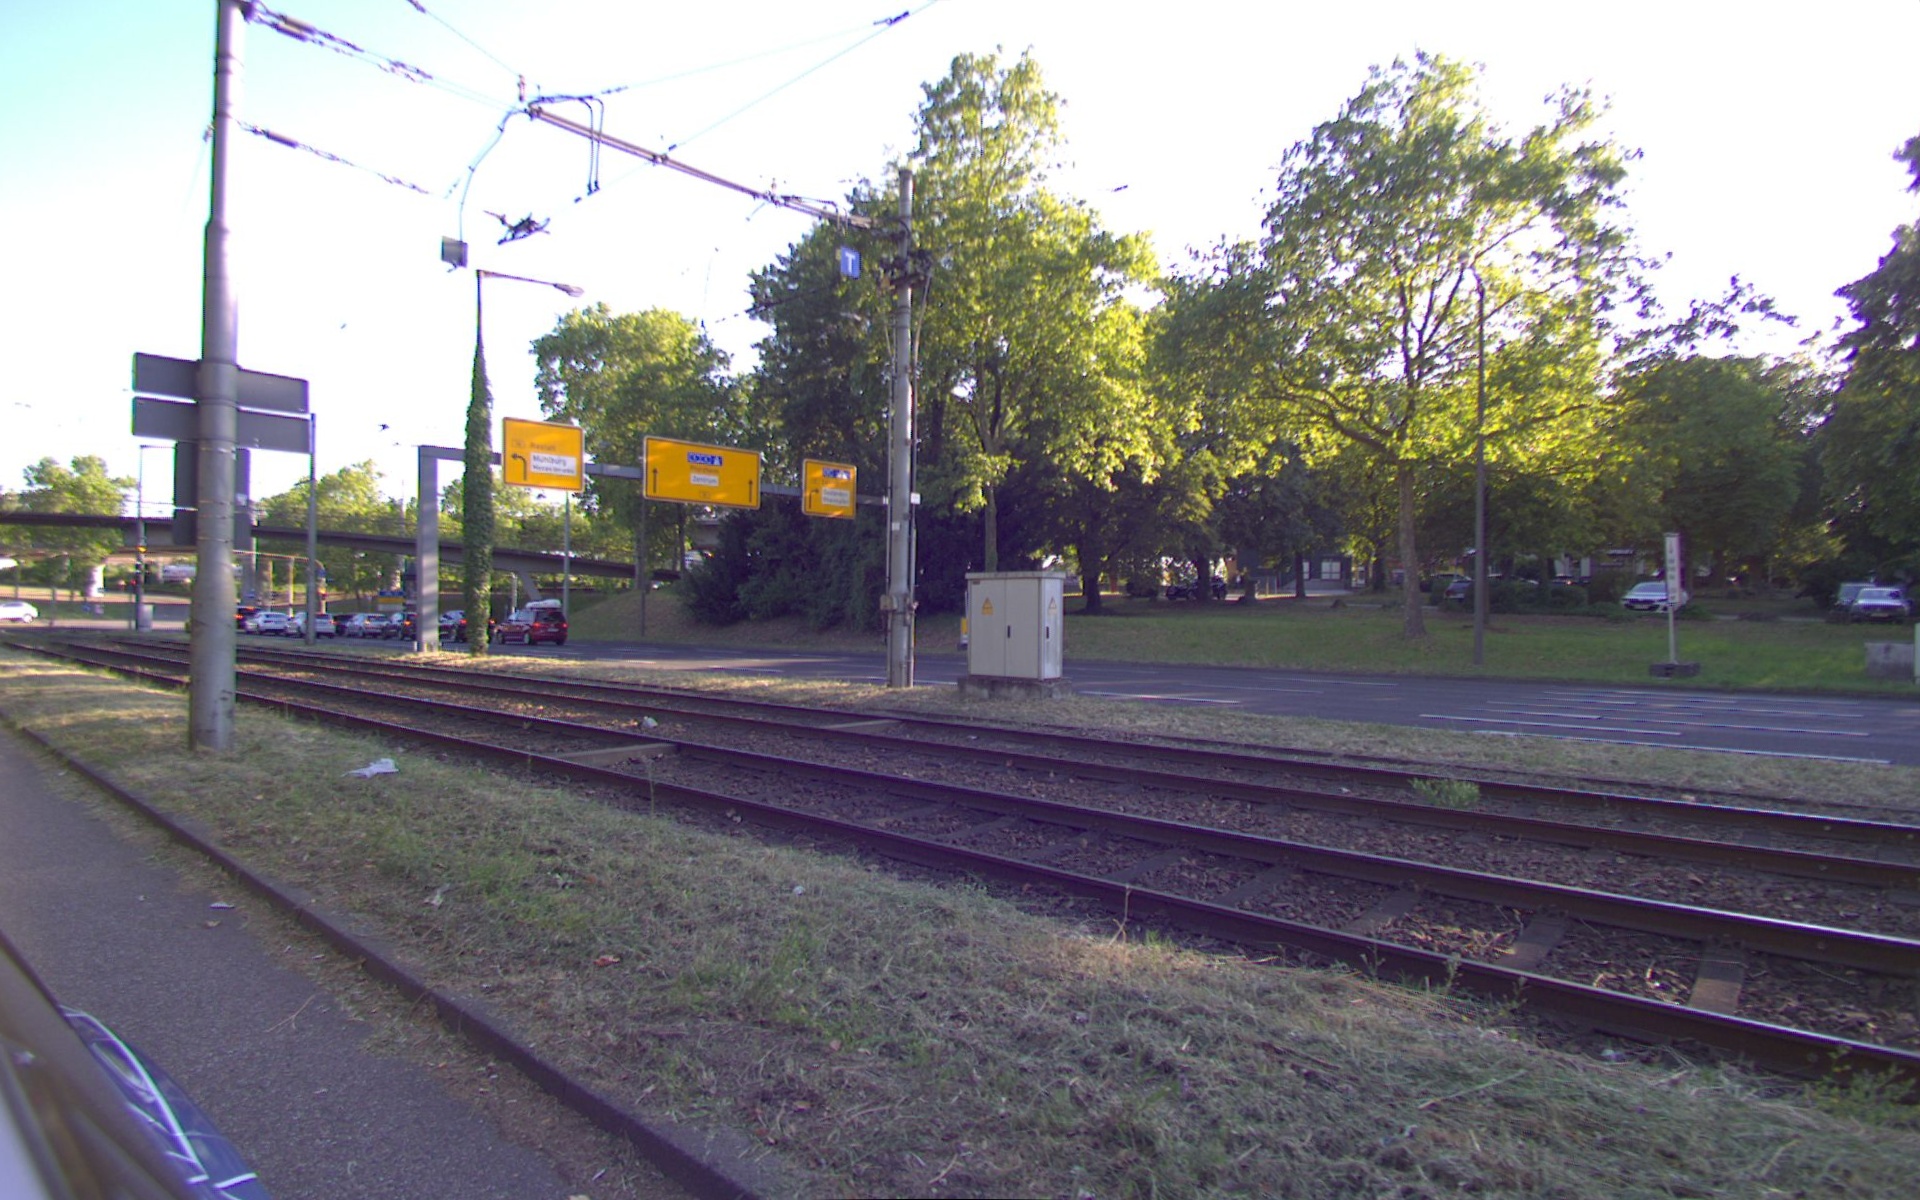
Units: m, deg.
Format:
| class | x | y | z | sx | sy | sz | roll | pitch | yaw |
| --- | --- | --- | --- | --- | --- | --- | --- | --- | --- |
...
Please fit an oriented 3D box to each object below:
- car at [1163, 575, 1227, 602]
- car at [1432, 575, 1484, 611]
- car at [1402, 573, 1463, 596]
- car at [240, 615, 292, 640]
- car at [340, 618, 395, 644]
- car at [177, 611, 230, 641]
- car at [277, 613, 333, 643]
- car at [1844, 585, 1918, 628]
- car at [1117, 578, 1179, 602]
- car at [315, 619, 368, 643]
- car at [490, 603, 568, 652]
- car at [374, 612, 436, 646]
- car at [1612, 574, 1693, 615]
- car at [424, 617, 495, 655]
| class | x | y | z | sx | sy | sz | roll | pitch | yaw |
| --- | --- | --- | --- | --- | --- | --- | --- | --- | --- |
| car | 14.089 | -0.664 | 60.622 | 3.939 | 1.564 | 1.810 | 0 | 0 | -43 |
| car | 24.775 | -0.319 | 50.267 | 1.823 | 1.700 | 4.178 | -1 | 0 | 33 |
| car | 34.659 | -1.113 | 74.387 | 3.976 | 1.564 | 1.793 | -1 | 0 | 25 |
| car | -42.146 | 1.651 | 61.416 | 4.413 | 1.443 | 1.722 | 0 | -3 | 44 |
| car | -35.890 | 1.839 | 61.273 | 3.999 | 1.492 | 1.773 | 0 | 0 | 42 |
| car | -41.882 | 1.397 | 56.005 | 3.999 | 1.577 | 1.645 | 0 | 0 | 42 |
| car | -36.833 | 1.549 | 56.880 | 4.190 | 1.577 | 1.645 | 0 | 0 | 42 |
| car | 36.246 | 0.225 | 39.889 | 2.043 | 1.586 | 4.341 | -1 | 0 | 42 |
| car | 12.625 | -0.646 | 67.916 | 3.933 | 1.564 | 1.812 | -1 | 0 | -34 |
| car | -40.290 | 1.997 | 65.919 | 4.475 | 1.393 | 1.773 | 0 | 0 | 42 |
| car | -19.828 | 1.213 | 46.493 | 3.999 | 2.121 | 1.773 | 0 | 0 | 42 |
| car | -30.581 | 1.547 | 55.700 | 3.999 | 1.763 | 1.773 | 0 | 0 | 42 |
| car | 30.723 | -0.240 | 44.848 | 4.826 | 1.719 | 2.002 | -1 | 0 | -43 |
| car | -25.186 | 1.770 | 50.885 | 4.240 | 1.763 | 1.773 | 0 | 0 | 42 |
